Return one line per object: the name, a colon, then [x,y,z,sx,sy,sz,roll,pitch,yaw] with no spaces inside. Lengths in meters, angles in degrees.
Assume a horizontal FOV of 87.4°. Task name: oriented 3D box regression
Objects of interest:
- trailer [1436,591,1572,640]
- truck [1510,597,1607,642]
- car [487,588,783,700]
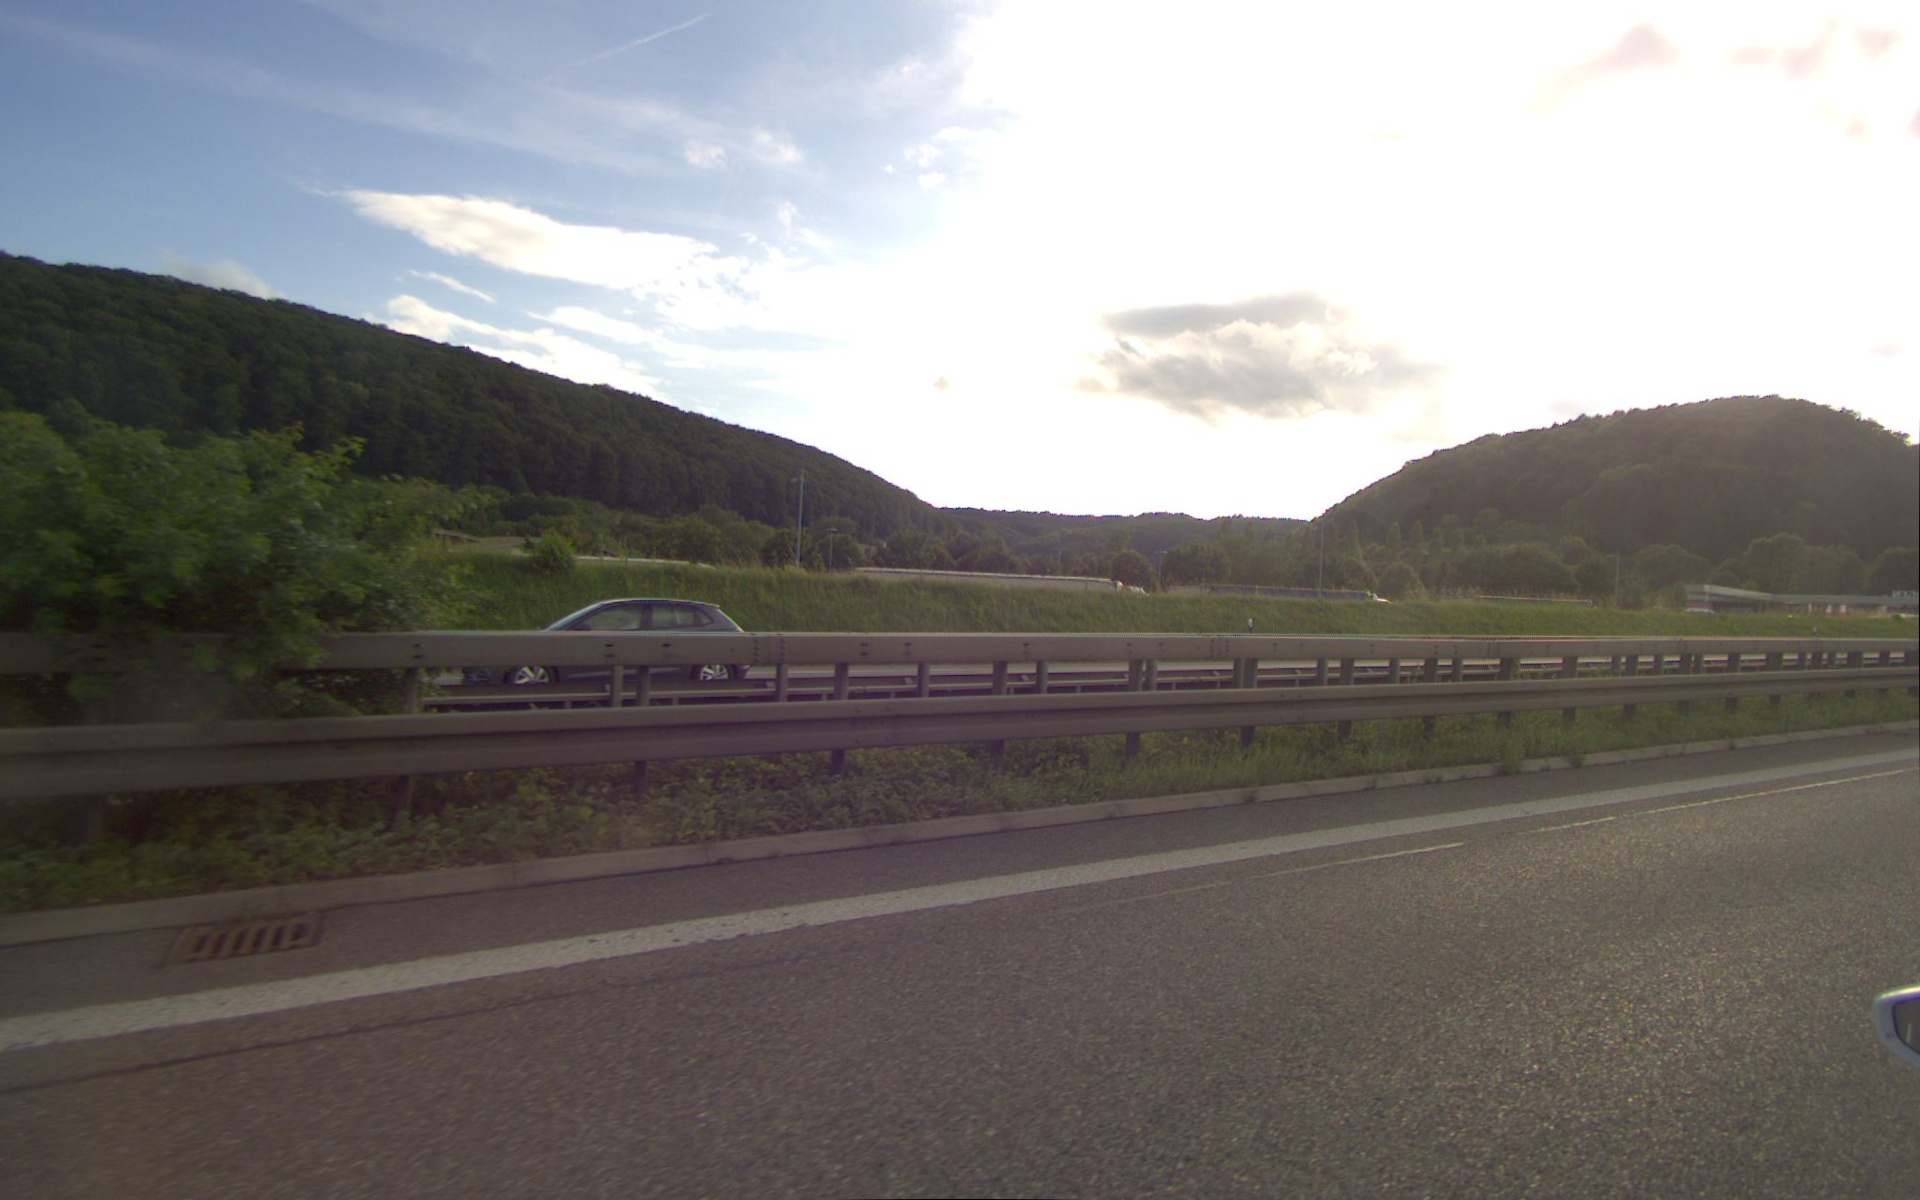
trailer: [37.073,1.093,68.279,11.246,2.891,2.567,3,-1,-30]
truck: [42.626,1.391,71.432,7.444,2.891,2.567,3,-1,-30]
car: [-4.833,0.645,15.083,3.955,1.483,1.644,2,-2,-32]
